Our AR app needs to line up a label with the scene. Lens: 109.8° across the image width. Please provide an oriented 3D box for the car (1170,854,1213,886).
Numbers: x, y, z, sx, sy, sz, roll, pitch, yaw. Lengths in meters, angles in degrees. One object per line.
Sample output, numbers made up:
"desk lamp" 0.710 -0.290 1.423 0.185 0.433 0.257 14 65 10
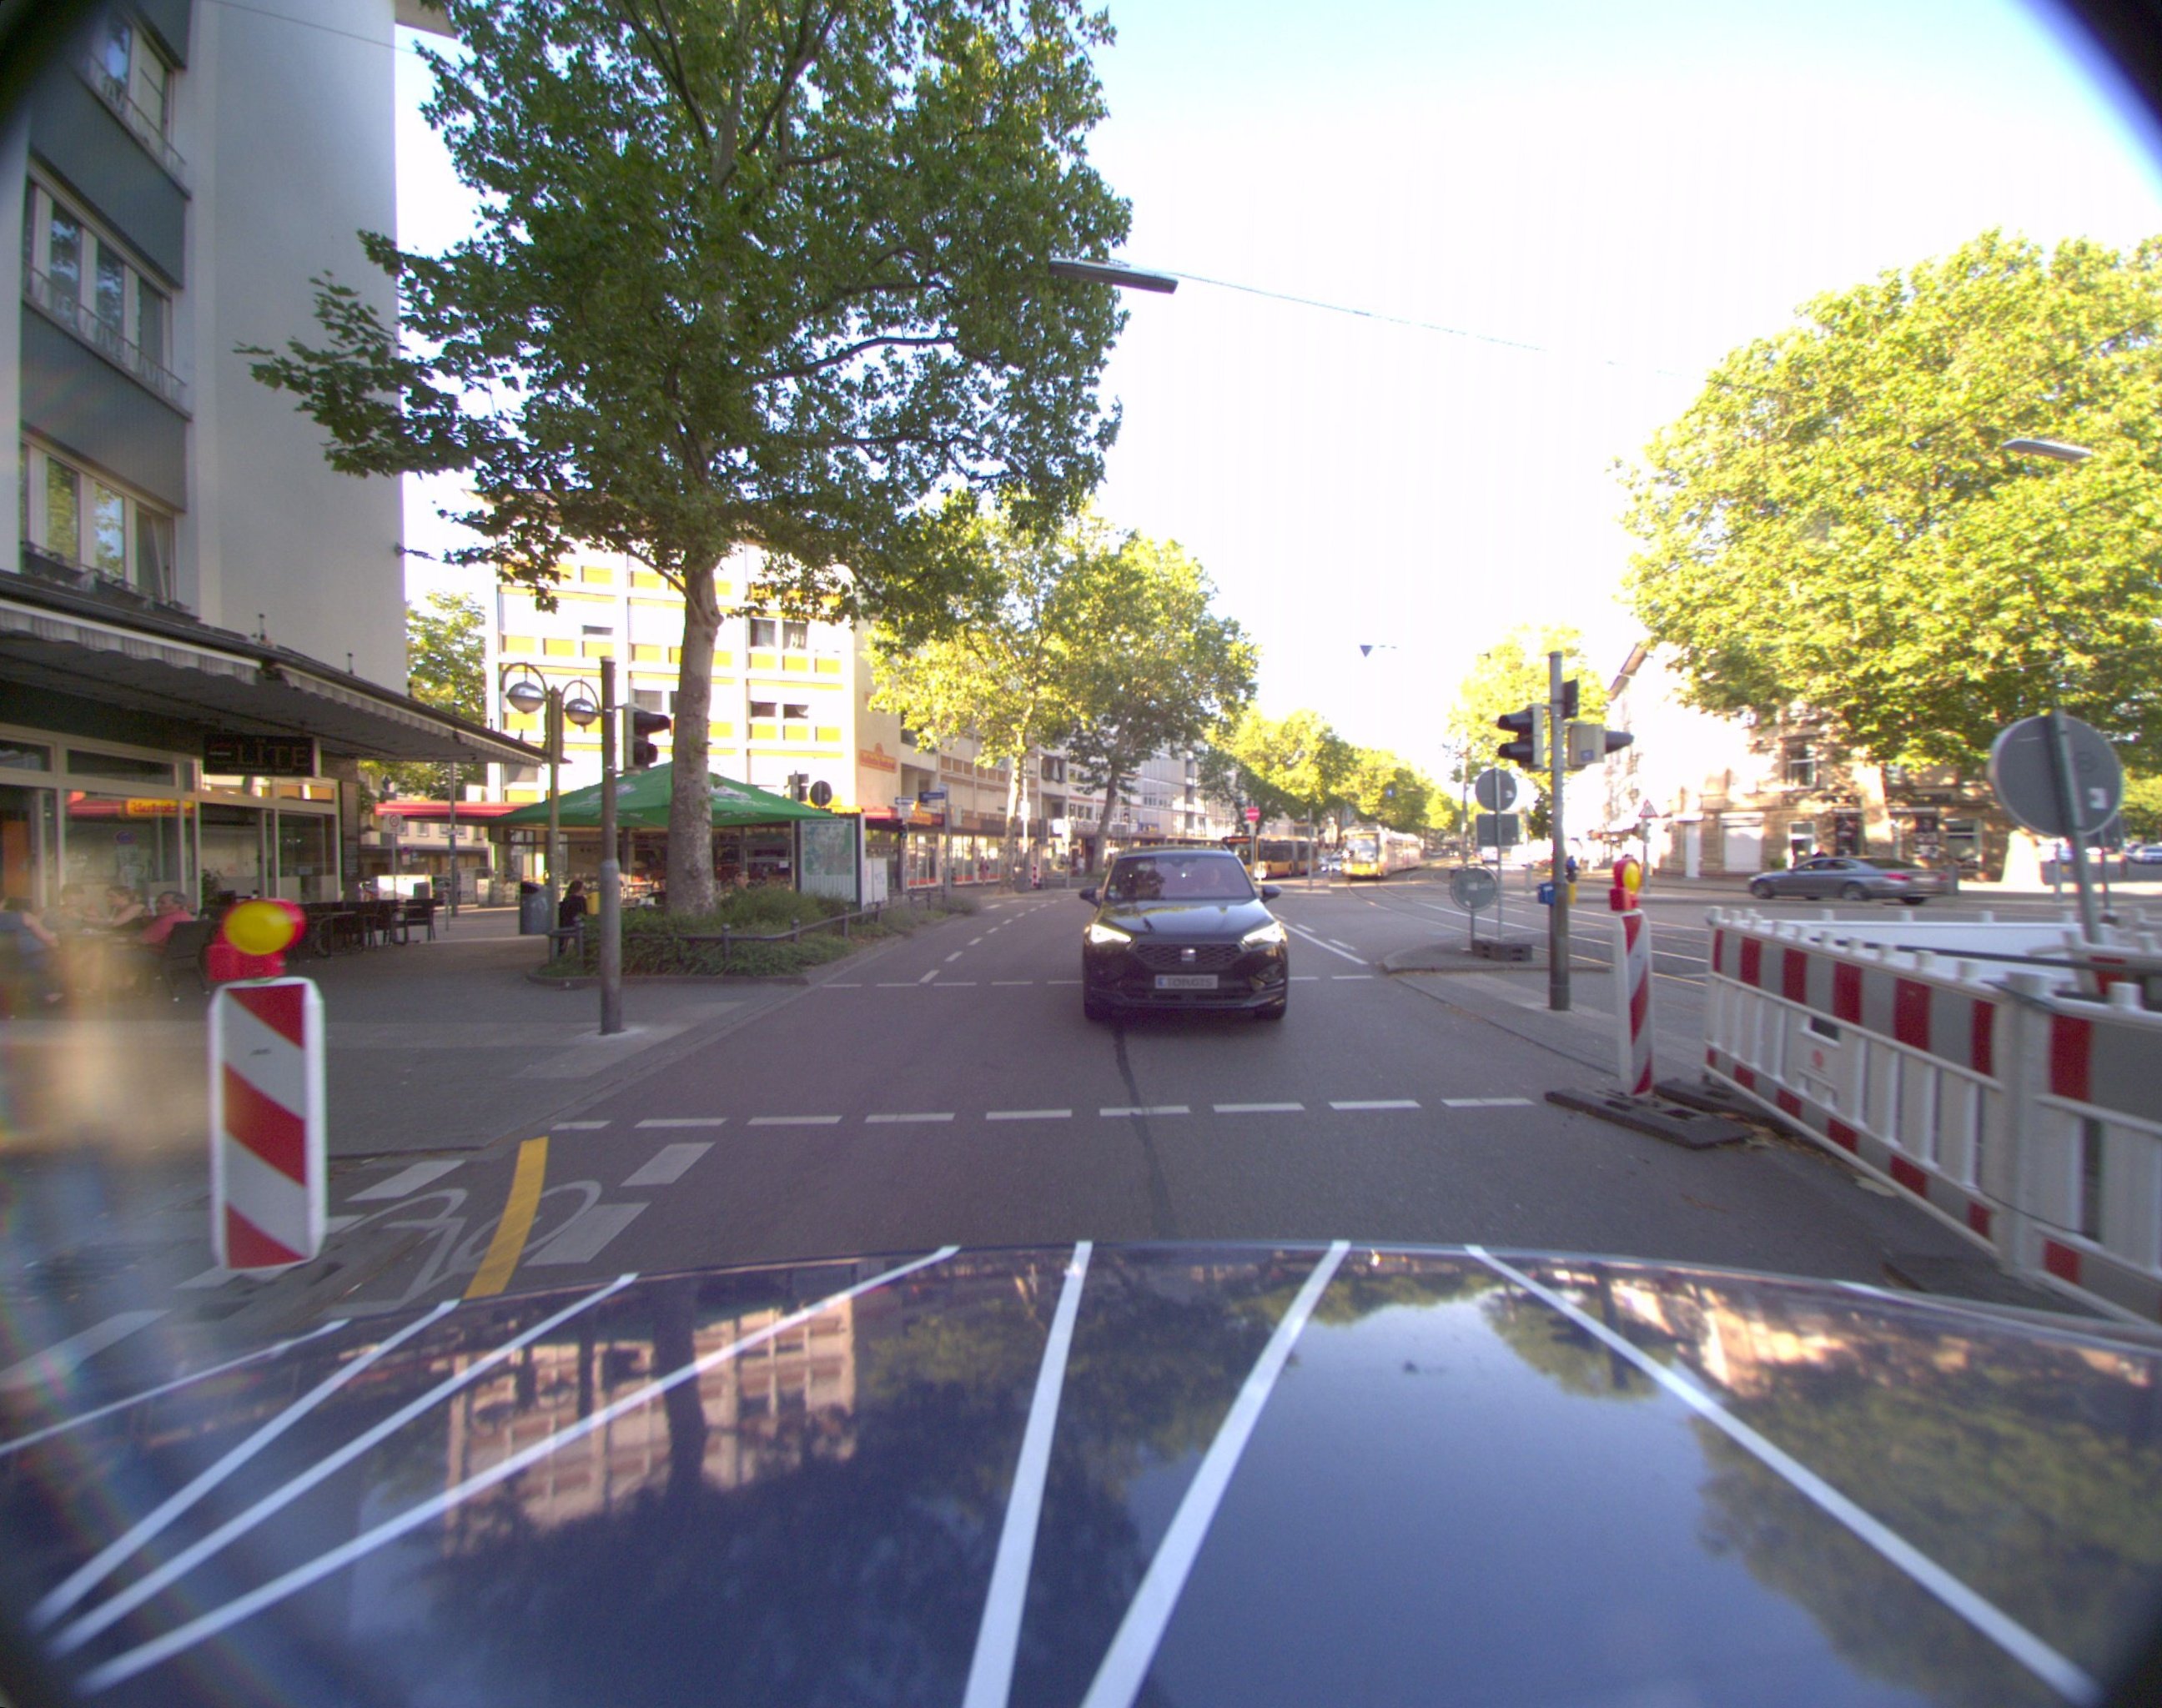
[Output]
"car" 5.462 0.767 37.270 1.650 1.463 3.713 -1 -1 15

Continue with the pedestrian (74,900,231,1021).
"pedestrian" -9.927 1.107 8.162 0.847 1.191 0.649 1 -1 -22

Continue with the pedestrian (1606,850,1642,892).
"pedestrian" 19.781 0.603 27.675 0.799 1.500 0.800 -1 0 -28

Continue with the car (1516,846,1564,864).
"car" 52.169 0.125 86.340 4.651 1.965 1.901 -1 0 -11

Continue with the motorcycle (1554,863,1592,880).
"motorcycle" 26.602 0.937 41.122 0.682 0.804 1.994 -1 1 -1

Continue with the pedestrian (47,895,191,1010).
"pedestrian" -10.774 1.076 8.538 0.666 1.211 0.717 1 -1 -6

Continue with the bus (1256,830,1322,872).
"bus" 16.758 -0.237 60.600 2.747 3.085 9.515 0 0 30

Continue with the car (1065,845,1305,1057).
"car" 0.963 0.782 8.179 1.848 1.648 4.300 -2 0 4

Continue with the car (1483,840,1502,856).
"car" 56.627 -0.827 104.523 2.162 2.110 4.988 1 0 29

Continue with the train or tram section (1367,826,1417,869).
"train or tram section" 27.724 -0.558 67.434 2.872 3.467 10.358 -1 0 29

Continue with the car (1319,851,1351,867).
"car" 24.685 0.497 73.803 1.907 1.467 4.426 0 1 32

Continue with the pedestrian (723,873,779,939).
"pedestrian" -6.661 1.044 15.367 0.718 1.278 0.769 -1 0 13

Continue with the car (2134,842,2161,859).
"car" 97.818 -0.336 69.471 4.007 1.485 1.723 -1 0 -36

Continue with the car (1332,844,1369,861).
"car" 39.974 -0.206 112.586 4.868 2.362 1.878 -1 1 -10

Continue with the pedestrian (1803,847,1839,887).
"pedestrian" 32.382 0.556 33.271 0.797 1.745 0.802 -1 0 0

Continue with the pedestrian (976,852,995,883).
"pedestrian" -5.346 0.760 42.681 0.748 1.747 0.903 -1 0 17

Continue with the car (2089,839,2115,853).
"car" 120.177 -0.974 89.432 4.007 1.614 1.723 -1 0 -36

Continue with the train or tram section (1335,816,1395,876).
"train or tram section" 18.403 -0.488 48.825 2.818 3.467 10.356 -1 0 25

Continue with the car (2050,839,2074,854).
"car" 135.547 -1.014 104.971 4.007 2.003 1.846 -1 0 -36

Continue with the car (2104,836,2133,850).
"car" 108.386 -1.143 79.389 4.007 1.485 1.723 -1 0 -36

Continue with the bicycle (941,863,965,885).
"bicycle" -6.935 1.058 41.216 0.528 1.136 1.976 -1 0 15

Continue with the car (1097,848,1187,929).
"car" 1.514 0.731 18.301 1.847 1.648 4.654 -2 0 6

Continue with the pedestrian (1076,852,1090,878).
"pedestrian" 0.134 0.756 52.175 0.748 1.747 0.903 -1 0 17

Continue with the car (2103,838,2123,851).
"car" 160.518 -1.535 118.208 4.007 2.003 1.846 -1 0 -36

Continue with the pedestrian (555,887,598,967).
"pedestrian" -7.975 1.139 12.020 0.469 1.212 0.431 -1 0 -44

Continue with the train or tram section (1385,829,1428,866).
"train or tram section" 32.836 -0.634 76.460 2.837 3.467 10.358 -1 0 30

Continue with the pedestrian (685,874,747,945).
"pedestrian" -6.924 1.038 14.442 0.718 1.278 0.769 -1 0 14

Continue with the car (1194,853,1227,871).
"car" 10.911 0.681 63.776 1.648 1.463 3.715 -1 -1 28

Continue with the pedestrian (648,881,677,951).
"pedestrian" -7.522 1.102 13.661 0.433 1.212 0.467 1 0 -29

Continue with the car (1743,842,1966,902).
"car" 23.691 0.532 23.590 1.953 1.645 4.688 0 -1 -5

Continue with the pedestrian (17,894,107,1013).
"pedestrian" -11.324 1.074 8.447 0.519 1.236 0.553 0 -1 34

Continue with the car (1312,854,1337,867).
"car" 29.245 0.738 91.205 2.627 1.464 1.201 -1 1 2

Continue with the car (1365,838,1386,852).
"car" 38.781 -1.156 99.949 1.952 1.767 4.007 0 1 29

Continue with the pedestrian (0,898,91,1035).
"pedestrian" -10.295 1.064 7.310 0.651 1.244 0.716 1 -1 -24

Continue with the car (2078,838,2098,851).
"car" 155.295 -1.450 117.185 4.007 2.003 1.846 -1 0 -36

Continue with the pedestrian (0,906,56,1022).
"pedestrian" -11.164 1.108 7.679 0.718 1.123 0.649 1 -1 -25

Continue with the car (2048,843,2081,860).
"car" 90.525 -0.241 69.901 4.007 1.485 1.723 -1 0 -36

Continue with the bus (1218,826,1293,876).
"bus" 12.190 -0.193 52.297 2.748 3.085 9.514 0 0 27

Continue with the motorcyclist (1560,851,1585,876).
"motorcyclist" 26.588 0.498 41.107 0.682 1.308 0.984 -1 1 -1

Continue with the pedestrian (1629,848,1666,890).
"pedestrian" 20.676 0.547 27.727 0.798 1.500 0.800 -1 0 -23

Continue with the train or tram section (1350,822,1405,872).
"train or tram section" 22.859 -0.538 58.212 2.837 3.467 10.357 -1 0 27

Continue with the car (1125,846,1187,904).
"car" 2.394 0.602 24.113 1.743 1.630 4.301 -2 0 6

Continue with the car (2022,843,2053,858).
"car" 94.188 -0.357 74.798 4.007 1.485 1.723 -1 0 -36
